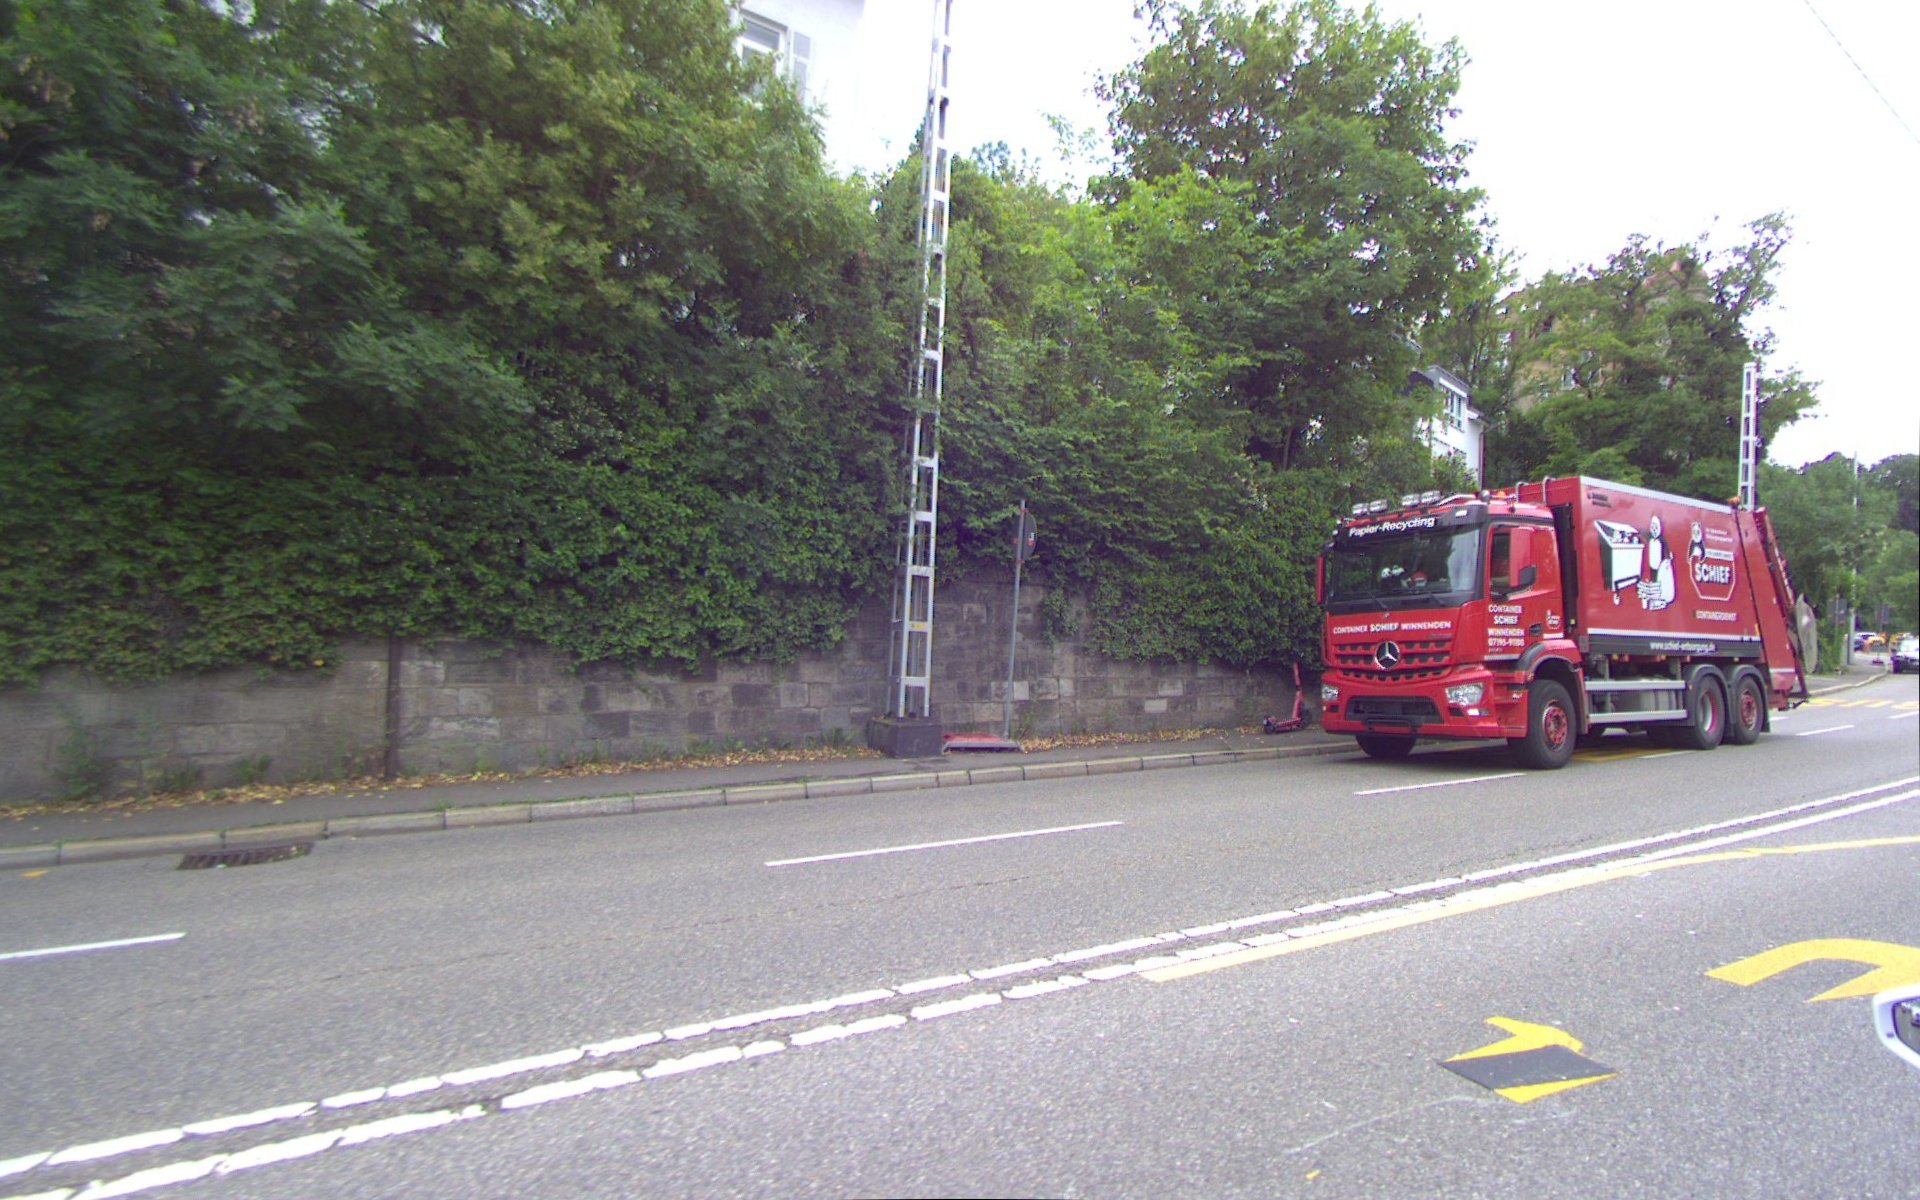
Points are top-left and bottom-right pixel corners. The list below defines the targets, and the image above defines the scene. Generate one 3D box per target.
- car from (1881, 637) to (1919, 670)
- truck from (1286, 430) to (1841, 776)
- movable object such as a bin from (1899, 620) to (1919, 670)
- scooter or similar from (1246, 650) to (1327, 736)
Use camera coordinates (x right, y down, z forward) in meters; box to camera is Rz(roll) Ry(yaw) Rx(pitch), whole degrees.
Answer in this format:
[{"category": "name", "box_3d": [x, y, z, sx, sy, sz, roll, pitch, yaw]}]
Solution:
[{"category": "car", "box_3d": [41.064, 2.284, 43.295, 1.876, 1.400, 3.976, -2, -3, 44]}, {"category": "truck", "box_3d": [9.251, 0.209, 14.772, 9.812, 3.745, 2.929, 1, -4, -33]}, {"category": "movable object such as a bin", "box_3d": [74.419, 3.399, 76.081, 3.484, 3.748, 7.474, -2, -3, 33]}, {"category": "scooter or similar", "box_3d": [4.991, 1.396, 15.326, 1.268, 1.221, 0.533, 2, 0, -38]}]
